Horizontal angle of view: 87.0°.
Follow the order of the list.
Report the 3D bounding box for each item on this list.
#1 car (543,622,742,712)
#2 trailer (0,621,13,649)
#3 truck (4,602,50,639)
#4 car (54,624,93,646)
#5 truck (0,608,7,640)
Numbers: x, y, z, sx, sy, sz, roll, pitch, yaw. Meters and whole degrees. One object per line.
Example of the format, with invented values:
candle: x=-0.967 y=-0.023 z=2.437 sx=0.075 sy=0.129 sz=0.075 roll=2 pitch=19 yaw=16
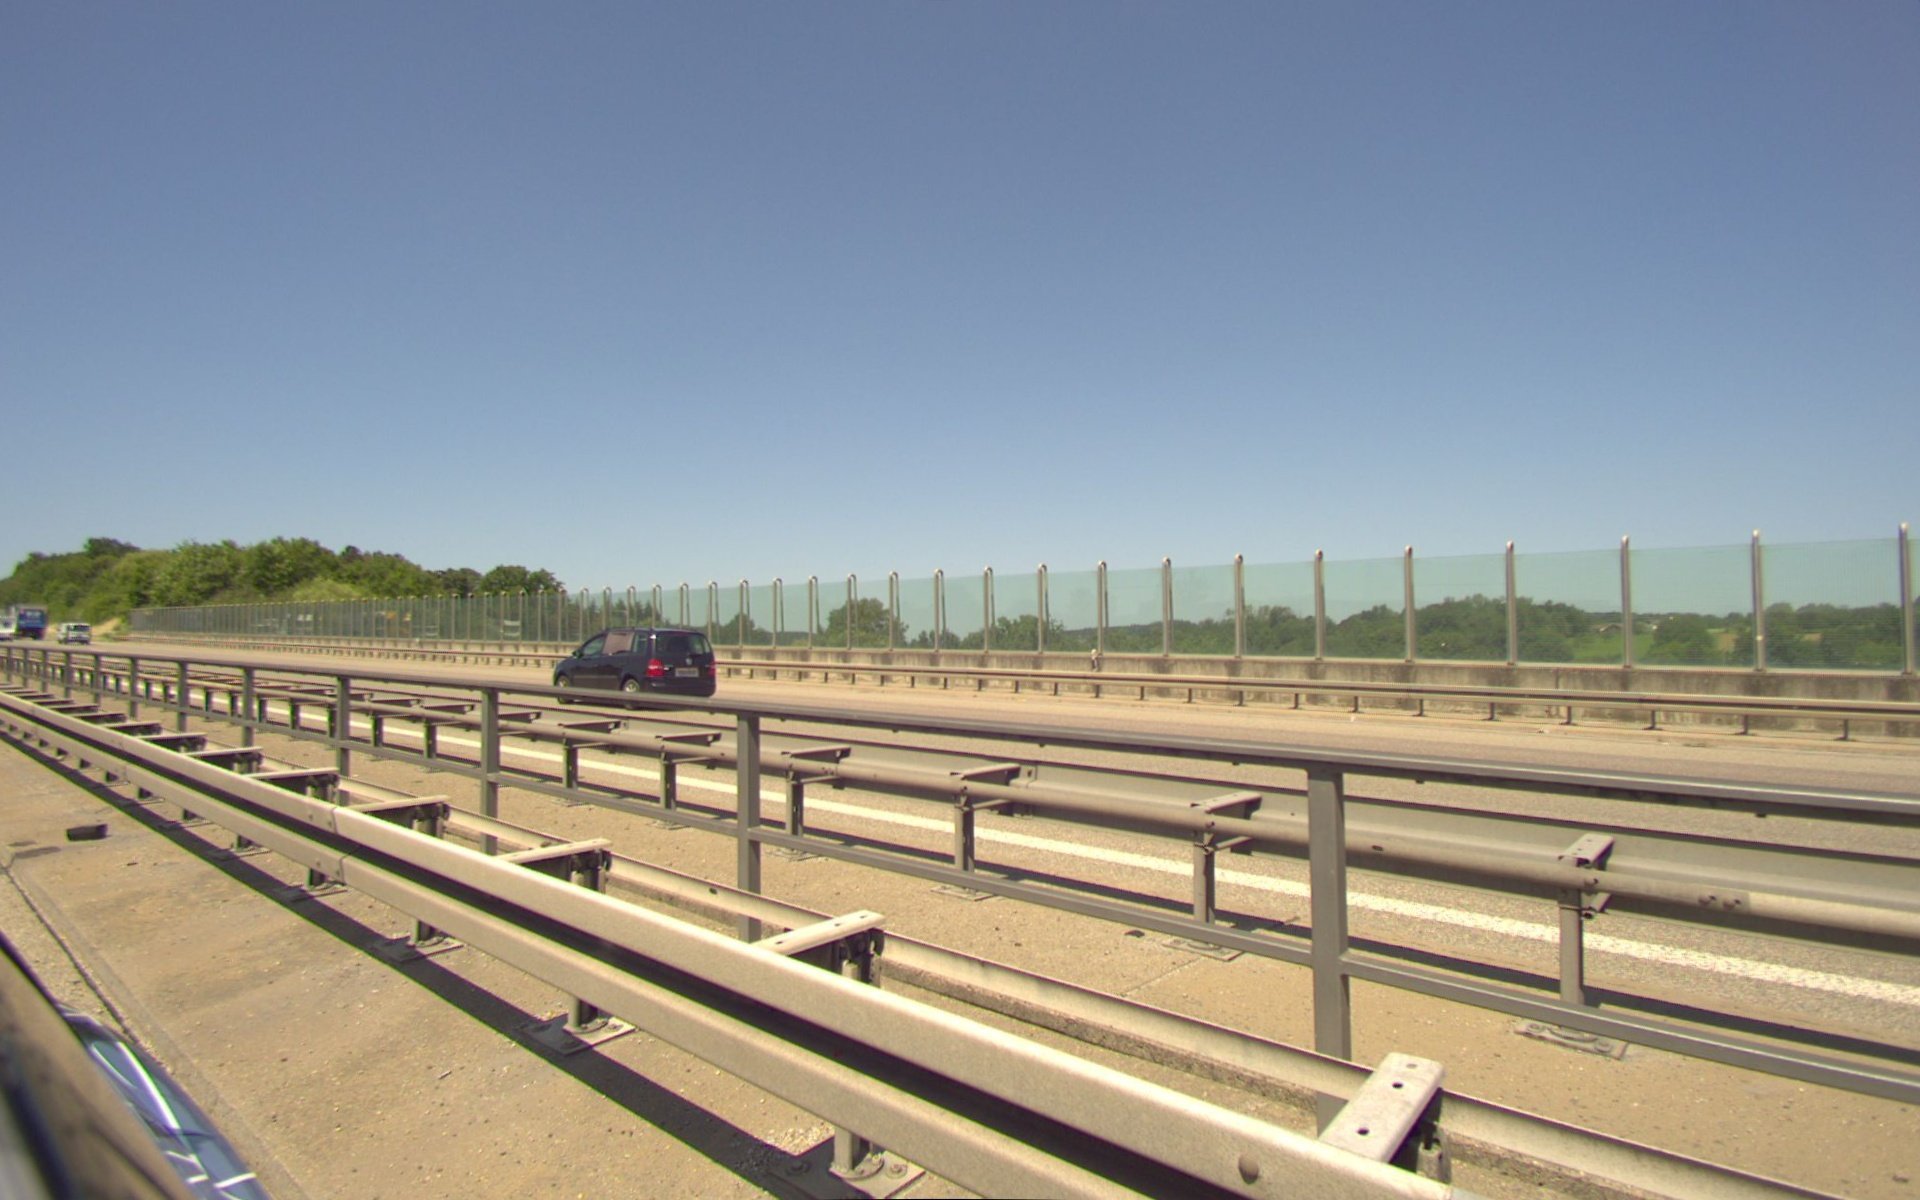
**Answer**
car: x=-6.669 y=1.351 z=21.086 sx=4.183 sy=1.685 sz=1.973 roll=-2 pitch=-4 yaw=40
trailer: x=-96.641 y=3.509 z=101.074 sx=6.357 sy=2.727 sz=2.292 roll=-2 pitch=-4 yaw=41
truck: x=-109.552 y=2.482 z=118.789 sx=9.986 sy=4.117 sz=2.839 roll=-1 pitch=-4 yaw=42
car: x=-82.696 y=3.253 z=94.371 sx=4.487 sy=1.999 sz=2.013 roll=-2 pitch=-5 yaw=41
truck: x=-142.454 y=3.515 z=148.498 sx=9.986 sy=4.575 sz=2.839 roll=-1 pitch=-4 yaw=42
